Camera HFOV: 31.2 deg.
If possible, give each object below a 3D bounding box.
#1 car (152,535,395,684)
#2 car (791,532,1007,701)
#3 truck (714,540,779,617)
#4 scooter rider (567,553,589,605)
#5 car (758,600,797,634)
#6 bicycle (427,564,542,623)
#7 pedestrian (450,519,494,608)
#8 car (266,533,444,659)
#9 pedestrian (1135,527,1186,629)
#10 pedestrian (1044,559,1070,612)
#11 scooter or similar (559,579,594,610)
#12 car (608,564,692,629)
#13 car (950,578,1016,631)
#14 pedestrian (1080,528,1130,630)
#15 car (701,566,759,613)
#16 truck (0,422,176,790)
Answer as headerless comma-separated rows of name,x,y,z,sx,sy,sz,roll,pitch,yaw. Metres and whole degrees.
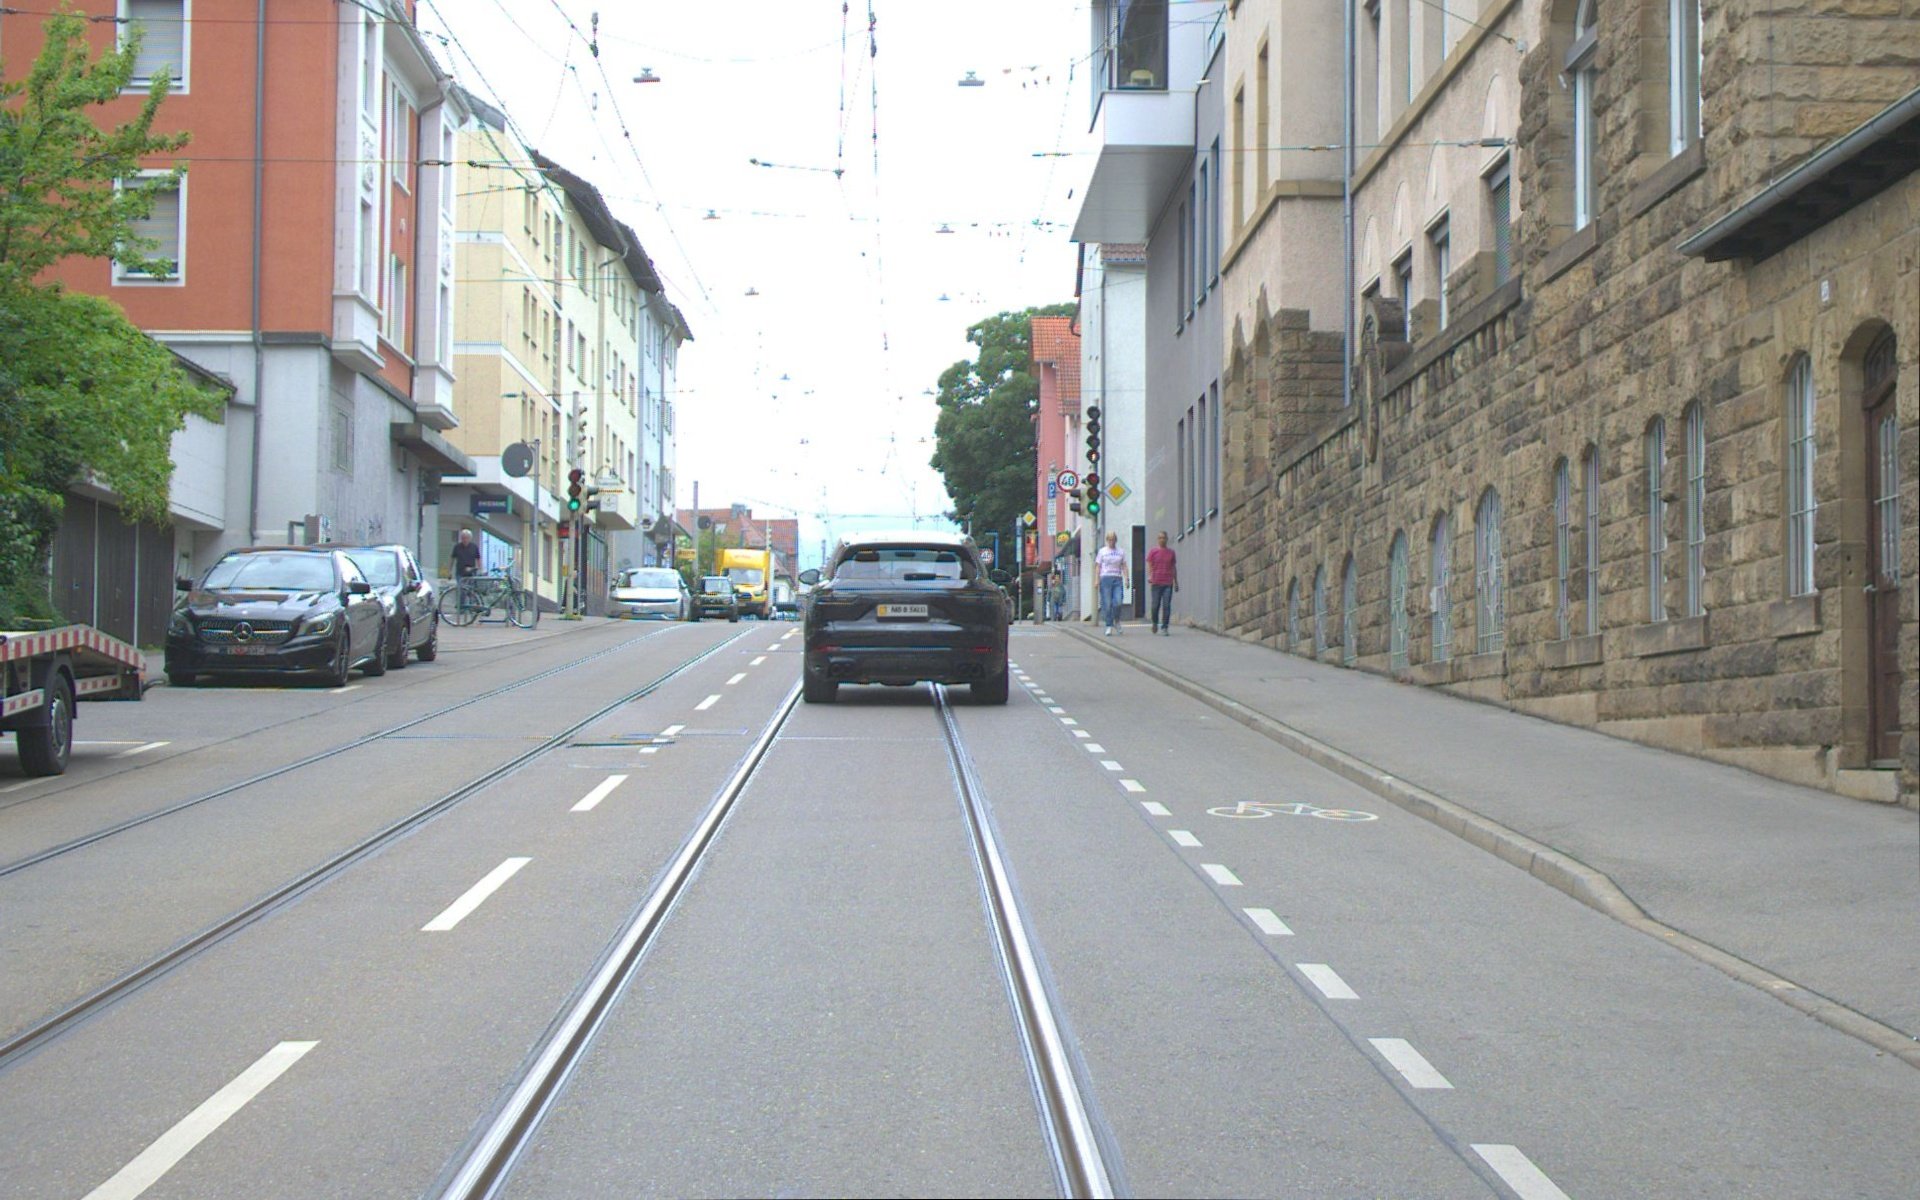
car,-7.093,0.063,35.897,1.712,1.441,4.290,1,1,-1
car,-0.593,0.121,34.136,1.993,1.558,4.290,1,1,-1
truck,-8.775,-0.891,141.936,2.302,3.026,9.034,1,0,-1
scooter rider,-11.566,-0.638,104.115,0.648,1.580,0.766,1,1,-5
car,-9.395,0.861,176.781,1.855,1.601,4.297,1,1,-1
bicycle,-8.220,-0.113,59.490,1.911,0.996,0.479,1,1,0
pedestrian,-9.724,-0.729,68.485,0.775,1.770,0.650,1,1,0
car,-7.242,-0.076,41.420,1.515,1.441,3.710,1,1,-1
pedestrian,3.301,-0.366,56.722,0.791,1.661,0.799,1,1,1
pedestrian,3.056,-0.454,107.868,0.791,1.661,0.799,1,1,1
scooter or similar,-11.619,-0.171,104.103,1.027,0.915,0.473,1,1,-5
car,-8.013,-0.103,89.173,1.855,1.601,4.297,1,1,-1
car,0.696,0.122,107.323,1.993,1.558,4.290,1,1,-1
pedestrian,2.392,-0.347,56.775,0.791,1.661,0.799,1,1,1
car,-8.120,-0.396,121.765,1.855,1.601,4.297,1,1,-1
truck,-6.834,0.015,20.940,2.280,2.180,8.025,1,1,0
